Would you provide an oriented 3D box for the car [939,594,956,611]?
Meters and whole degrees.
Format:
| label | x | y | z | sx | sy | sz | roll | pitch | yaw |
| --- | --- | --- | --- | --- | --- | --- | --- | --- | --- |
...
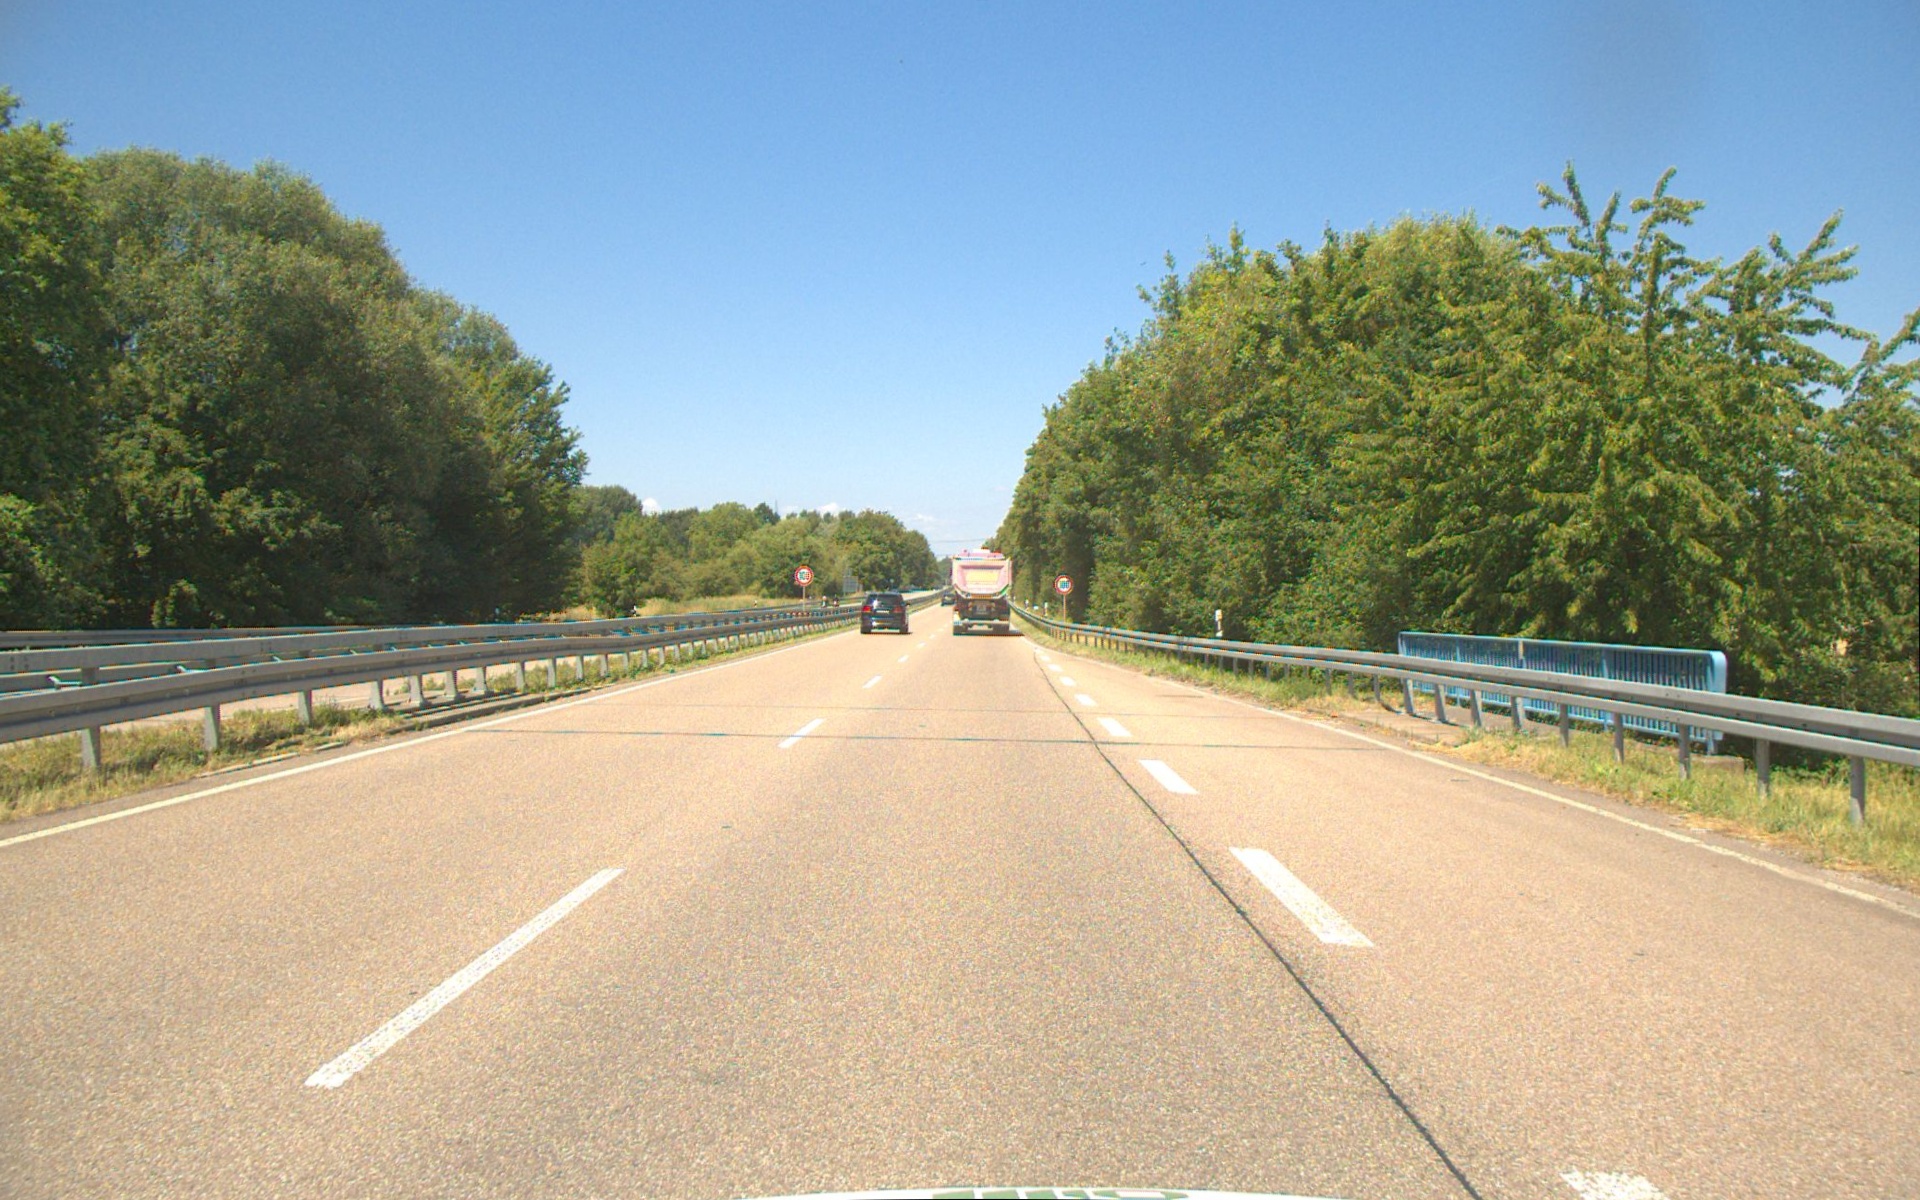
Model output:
| label | x | y | z | sx | sy | sz | roll | pitch | yaw |
| --- | --- | --- | --- | --- | --- | --- | --- | --- | --- |
| car | -1.397 | 0.291 | 186.048 | 1.819 | 1.748 | 3.999 | 1 | -1 | 0 |

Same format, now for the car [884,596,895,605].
| label | x | y | z | sx | sy | sz | roll | pitch | yaw |
| --- | --- | --- | --- | --- | --- | --- | --- | --- | --- |
| car | -10.763 | 0.117 | 253.076 | 1.595 | 1.355 | 3.535 | 0 | 0 | 1 |

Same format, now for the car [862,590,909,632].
| label | x | y | z | sx | sy | sz | roll | pitch | yaw |
| --- | --- | --- | --- | --- | --- | --- | --- | --- | --- |
| car | -3.136 | 0.494 | 70.472 | 1.819 | 1.701 | 3.999 | 1 | -1 | 0 |

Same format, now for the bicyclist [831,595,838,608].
| label | x | y | z | sx | sy | sz | roll | pitch | yaw |
| --- | --- | --- | --- | --- | --- | --- | --- | --- | --- |
| bicyclist | -12.174 | 0.146 | 160.552 | 0.601 | 1.299 | 0.608 | 1 | -1 | 0 |

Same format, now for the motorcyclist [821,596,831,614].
| label | x | y | z | sx | sy | sz | roll | pitch | yaw |
| --- | --- | --- | --- | --- | --- | --- | --- | --- | --- |
| motorcyclist | -11.263 | 0.422 | 139.108 | 0.703 | 1.508 | 0.809 | 1 | -1 | 1 |

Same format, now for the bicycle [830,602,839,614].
| label | x | y | z | sx | sy | sz | roll | pitch | yaw |
| --- | --- | --- | --- | --- | --- | --- | --- | --- | --- |
| bicycle | -12.184 | 0.756 | 160.393 | 0.601 | 1.178 | 2.280 | 1 | 0 | 1 |

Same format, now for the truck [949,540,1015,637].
| label | x | y | z | sx | sy | sz | roll | pitch | yaw |
| --- | --- | --- | --- | --- | --- | --- | --- | --- | --- |
| truck | 0.924 | -0.519 | 74.749 | 2.664 | 3.999 | 12.370 | 1 | 0 | 0 |

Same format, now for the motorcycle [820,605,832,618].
| label | x | y | z | sx | sy | sz | roll | pitch | yaw |
| --- | --- | --- | --- | --- | --- | --- | --- | --- | --- |
| motorcycle | -11.263 | 0.968 | 139.043 | 0.711 | 1.083 | 2.667 | 1 | 0 | 1 |
